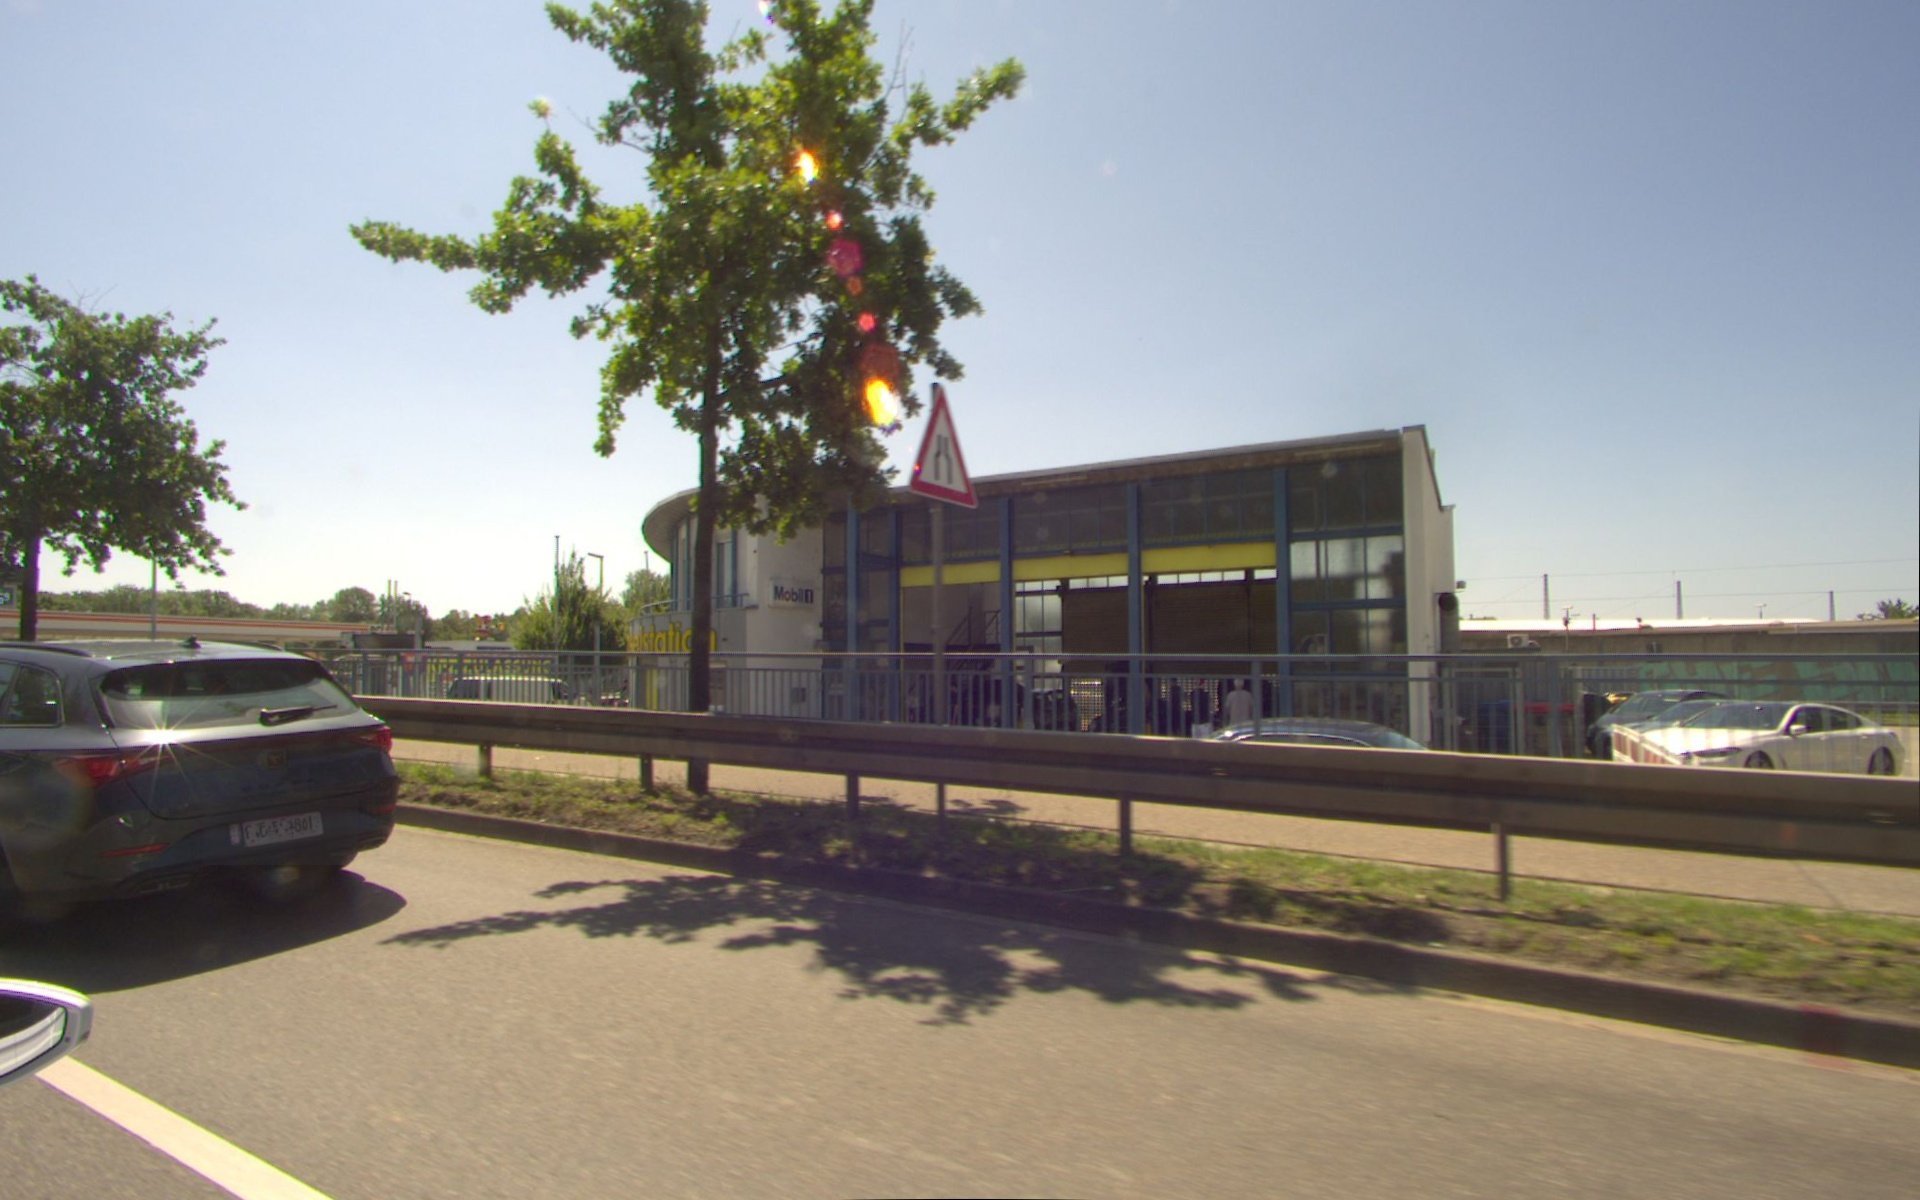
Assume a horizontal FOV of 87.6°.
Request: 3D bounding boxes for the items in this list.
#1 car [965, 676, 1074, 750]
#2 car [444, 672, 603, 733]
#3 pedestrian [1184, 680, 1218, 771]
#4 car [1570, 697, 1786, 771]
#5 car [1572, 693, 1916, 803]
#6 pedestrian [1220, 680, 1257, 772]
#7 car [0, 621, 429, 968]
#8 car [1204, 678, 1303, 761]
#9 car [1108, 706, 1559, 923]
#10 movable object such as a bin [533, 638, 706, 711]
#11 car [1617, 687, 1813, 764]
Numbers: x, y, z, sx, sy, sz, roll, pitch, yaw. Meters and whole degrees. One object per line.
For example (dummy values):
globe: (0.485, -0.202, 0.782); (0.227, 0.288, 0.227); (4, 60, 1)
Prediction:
car: (1.658, 2.938, 26.686); (1.624, 1.705, 3.669); (-2, -3, 26)
car: (-13.575, 3.144, 31.425); (1.572, 1.680, 4.592); (-2, -3, 29)
pedestrian: (4.725, 2.443, 19.623); (0.481, 1.724, 0.521); (-2, -2, 32)
car: (14.271, 2.623, 19.963); (3.546, 1.268, 1.479); (0, -3, -12)
car: (12.540, 2.270, 16.047); (4.997, 1.374, 1.996); (1, -3, -20)
pedestrian: (5.409, 2.427, 19.435); (0.581, 1.724, 0.425); (-2, -2, 31)
car: (-5.237, 0.931, 5.988); (4.170, 1.474, 1.604); (-2, -3, 28)
car: (7.057, 2.754, 23.862); (1.625, 1.705, 3.668); (-2, -3, 27)
car: (3.538, 1.888, 9.704); (3.845, 1.551, 1.630); (-2, -3, 32)
movable object such as a bin: (-19.101, 4.116, 57.315); (2.985, 3.753, 11.061); (-1, -3, 21)
car: (18.031, 2.947, 23.925); (4.325, 1.578, 1.653); (1, -3, -20)
